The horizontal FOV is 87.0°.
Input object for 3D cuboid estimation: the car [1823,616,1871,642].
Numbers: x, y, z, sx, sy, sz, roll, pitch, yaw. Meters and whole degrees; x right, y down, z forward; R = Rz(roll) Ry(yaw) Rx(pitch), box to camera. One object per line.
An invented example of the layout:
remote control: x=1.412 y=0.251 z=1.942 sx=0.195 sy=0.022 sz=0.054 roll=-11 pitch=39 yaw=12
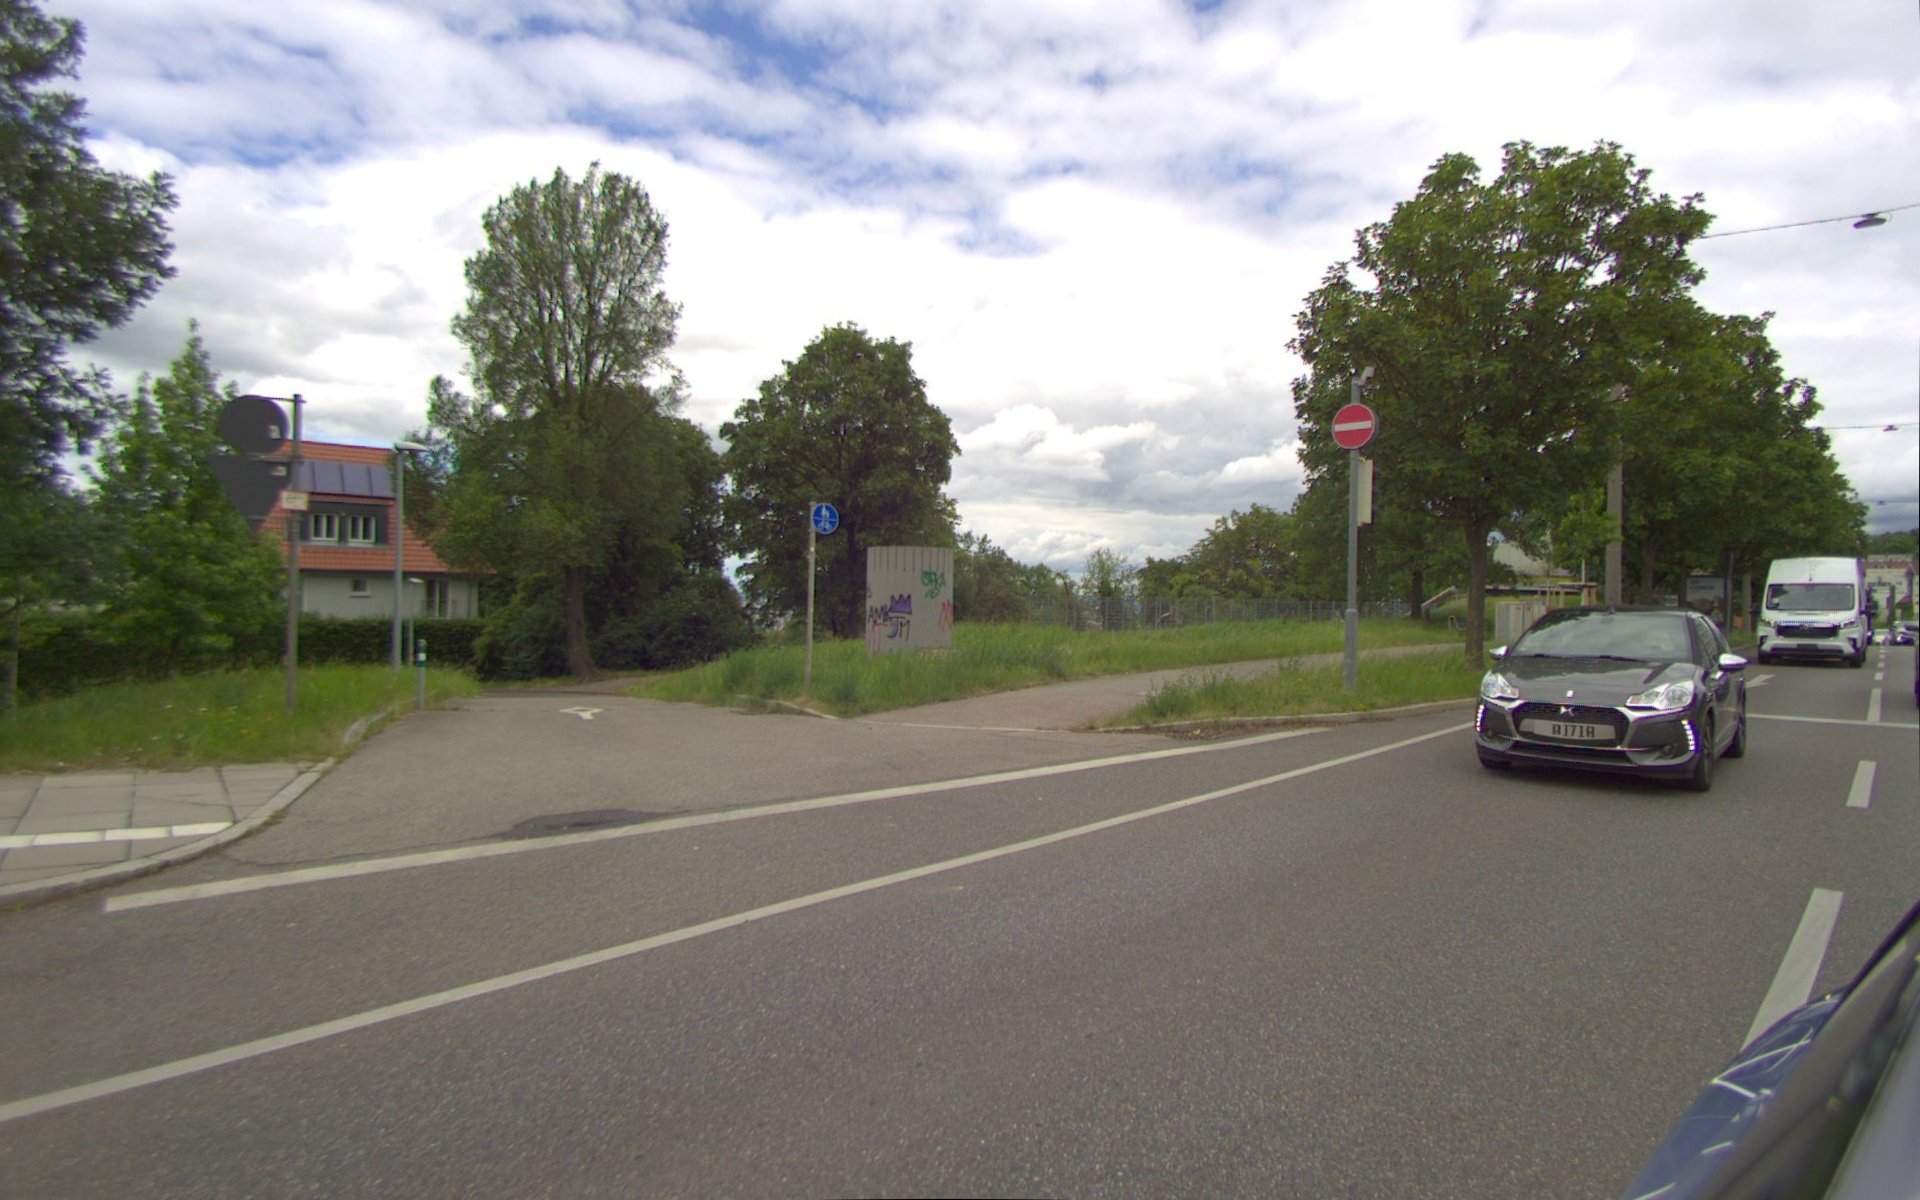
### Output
car: x=51.880 y=1.650 z=59.177 sx=1.982 sy=1.461 sz=4.093 roll=-1 pitch=-1 yaw=43

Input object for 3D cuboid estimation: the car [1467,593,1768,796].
car: x=6.274 y=0.715 z=9.459 sx=1.700 sy=1.479 sz=3.998 roll=-1 pitch=-1 yaw=43

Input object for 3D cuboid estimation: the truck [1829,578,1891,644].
truck: x=58.359 y=0.705 z=65.681 sx=2.817 sy=3.976 sz=9.314 roll=-1 pitch=-1 yaw=42

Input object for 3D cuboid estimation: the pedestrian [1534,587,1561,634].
pedestrian: x=20.870 y=0.382 z=35.958 sx=0.541 sy=1.623 sz=0.691 roll=7 pitch=3 yaw=43

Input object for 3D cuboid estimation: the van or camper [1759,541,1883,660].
van or camper: x=22.320 y=0.051 z=26.128 sx=2.104 sy=2.725 sz=6.199 roll=-1 pitch=-1 yaw=43

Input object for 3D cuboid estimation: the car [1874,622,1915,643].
car: x=72.479 y=2.539 z=78.546 sx=1.726 sy=1.589 sz=4.269 roll=-2 pitch=-3 yaw=36

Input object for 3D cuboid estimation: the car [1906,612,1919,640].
car: x=55.165 y=1.486 z=57.601 sx=1.849 sy=1.550 sz=4.417 roll=-1 pitch=-2 yaw=43
